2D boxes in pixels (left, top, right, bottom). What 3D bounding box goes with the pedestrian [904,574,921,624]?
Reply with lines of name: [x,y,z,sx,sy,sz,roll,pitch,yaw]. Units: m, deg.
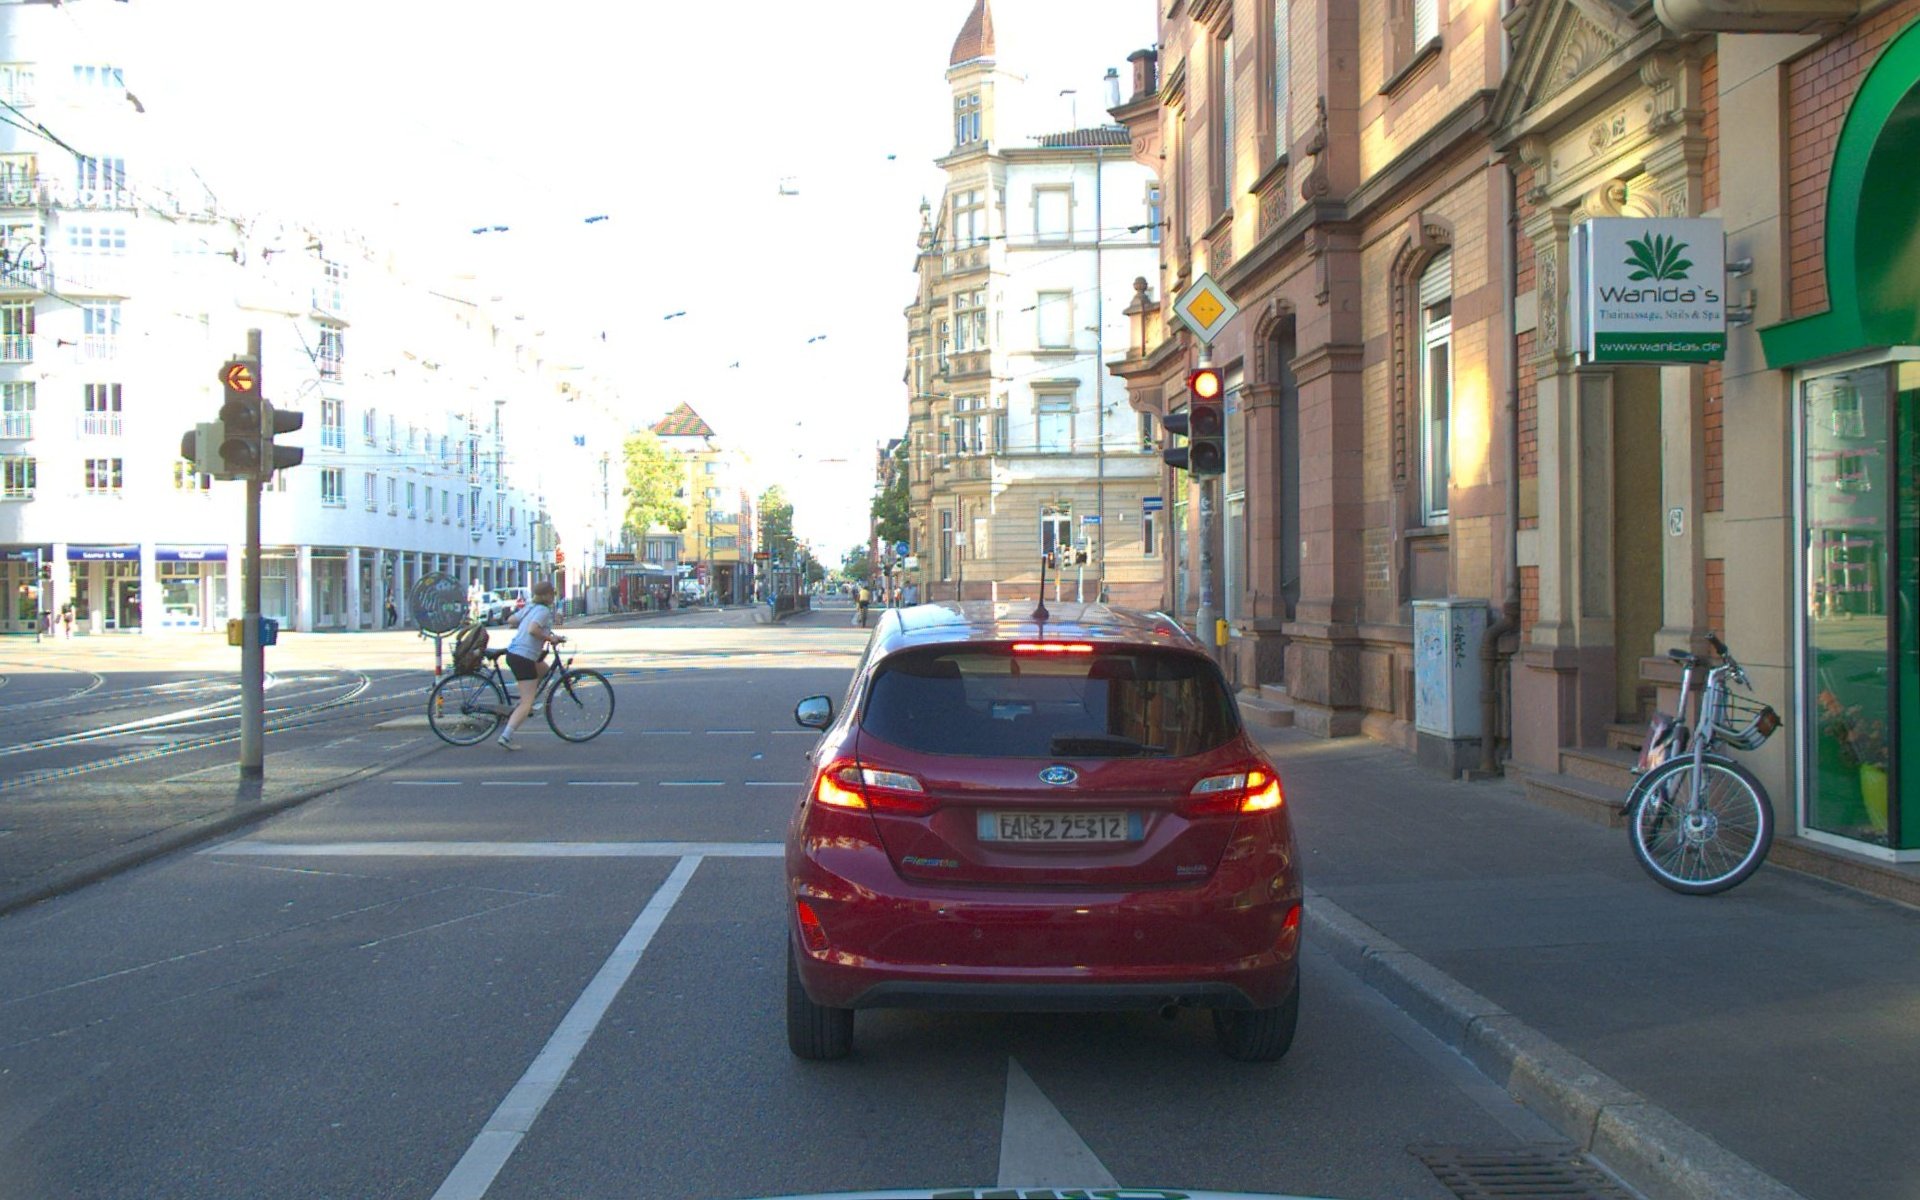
pedestrian: [-1.982,-0.028,68.647,0.638,2.049,0.759,0,0,-4]

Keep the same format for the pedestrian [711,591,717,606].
pedestrian: [-24.619,-0.142,165.487,0.513,1.514,0.582,-1,0,-2]

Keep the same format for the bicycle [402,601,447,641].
bicycle: [-16.069,0.614,49.657,0.791,1.167,2.048,-1,0,-4]

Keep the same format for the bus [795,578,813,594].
bus: [-20.530,-1.814,217.301,1.887,2.049,7.134,-1,0,-2]

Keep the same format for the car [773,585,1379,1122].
car: [0.170,0.708,6.649,1.720,1.492,3.941,1,0,-5]

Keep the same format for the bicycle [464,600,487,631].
bicycle: [-18.761,0.596,64.020,0.795,1.167,2.000,-1,0,-18]

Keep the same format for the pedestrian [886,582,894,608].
pedestrian: [-5.518,-0.390,131.077,0.565,2.049,0.631,-1,0,2]

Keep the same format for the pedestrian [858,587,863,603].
pedestrian: [-12.256,-0.592,204.214,0.565,1.920,0.669,-1,0,-3]

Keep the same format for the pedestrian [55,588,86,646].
pedestrian: [-31.764,0.587,59.043,0.934,2.049,0.930,-1,0,-31]

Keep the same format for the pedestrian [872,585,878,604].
pedestrian: [-8.962,-0.581,174.494,0.565,2.049,0.630,-1,0,-3]

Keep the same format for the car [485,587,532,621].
car: [-23.917,0.177,87.696,1.667,1.748,3.561,-1,0,-4]

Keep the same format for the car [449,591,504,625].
car: [-23.391,0.356,80.129,1.730,1.573,3.459,-1,0,-3]

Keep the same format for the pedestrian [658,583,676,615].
pedestrian: [-18.726,-0.082,105.836,1.025,2.049,0.958,-1,0,-6]

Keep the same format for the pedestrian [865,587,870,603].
pedestrian: [-11.260,-0.639,201.263,0.565,1.920,0.630,-1,0,-3]

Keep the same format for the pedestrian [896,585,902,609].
pedestrian: [-4.349,-0.193,117.210,0.405,1.710,0.484,-1,0,-1]

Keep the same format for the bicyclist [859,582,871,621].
bicyclist: [-4.171,0.060,72.504,0.489,1.705,0.545,-1,0,1]

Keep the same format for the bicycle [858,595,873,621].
bicycle: [-4.163,0.360,72.697,0.515,1.108,1.486,-1,0,1]

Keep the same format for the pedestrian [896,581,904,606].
pedestrian: [-4.891,-0.556,135.066,0.565,2.049,0.631,-1,0,2]

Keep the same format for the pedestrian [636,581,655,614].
pedestrian: [-19.973,-0.161,105.038,1.025,2.049,0.958,-1,0,-6]

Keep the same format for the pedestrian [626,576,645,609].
pedestrian: [-20.051,-0.461,102.201,1.025,2.049,0.958,-1,0,-6]

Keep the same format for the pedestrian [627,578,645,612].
pedestrian: [-19.784,-0.298,100.995,0.937,2.049,1.048,-1,0,-4]

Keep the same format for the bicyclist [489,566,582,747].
bicyclist: [-4.004,0.516,15.579,0.720,1.655,0.759,0,0,-26]

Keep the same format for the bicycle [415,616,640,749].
bicycle: [-4.095,0.753,15.705,1.993,1.198,0.623,0,0,-26]

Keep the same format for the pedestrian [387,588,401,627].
pedestrian: [-25.058,0.332,73.191,0.514,1.711,0.485,-1,0,-11]

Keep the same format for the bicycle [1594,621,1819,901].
bicycle: [3.609,0.728,8.128,0.700,1.172,1.656,-2,0,15]

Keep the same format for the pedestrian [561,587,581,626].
pedestrian: [-17.293,0.287,73.468,0.753,1.761,0.572,0,0,-2]

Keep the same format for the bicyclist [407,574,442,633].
bicyclist: [-16.076,0.099,49.663,0.792,1.756,0.793,-1,0,-4]

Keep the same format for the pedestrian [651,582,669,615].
pedestrian: [-18.757,-0.109,103.409,1.025,2.049,0.958,-1,0,-6]

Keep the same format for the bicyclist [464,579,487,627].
bicyclist: [-18.711,0.118,63.864,0.795,1.853,0.988,-1,0,-18]

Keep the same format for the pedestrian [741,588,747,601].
pedestrian: [-25.739,-0.663,196.997,0.619,1.632,0.575,-1,0,-20]
